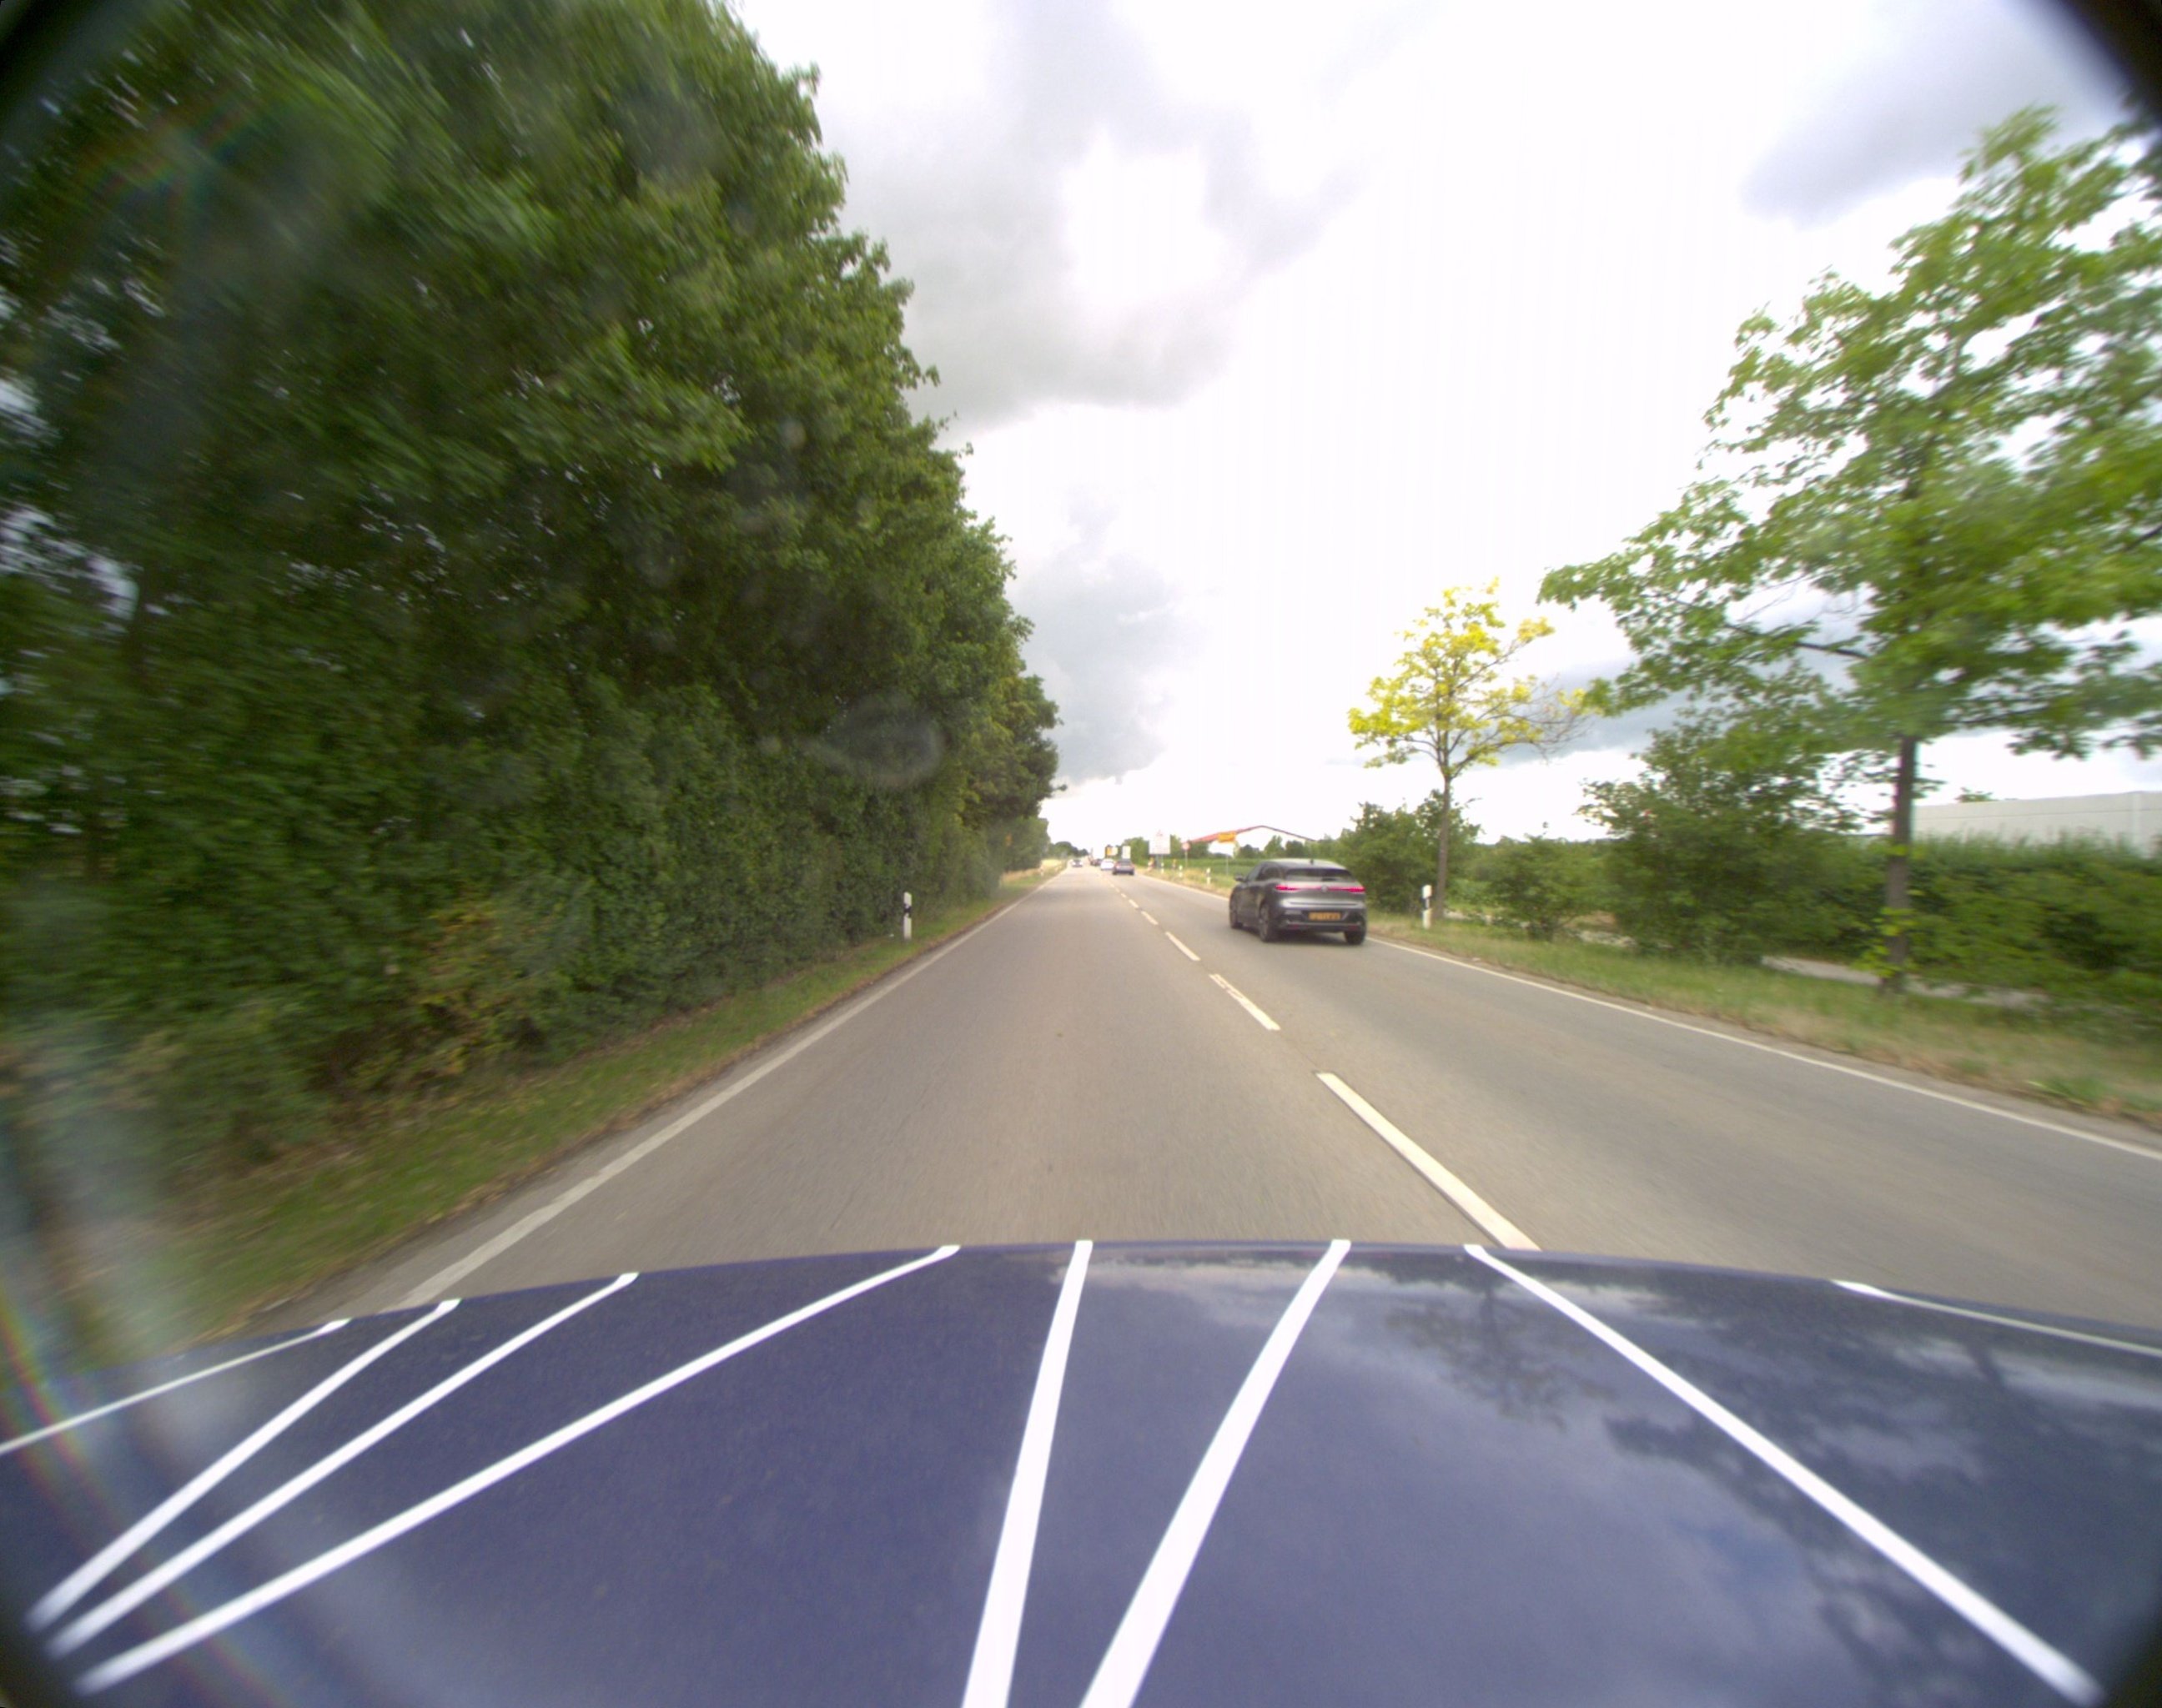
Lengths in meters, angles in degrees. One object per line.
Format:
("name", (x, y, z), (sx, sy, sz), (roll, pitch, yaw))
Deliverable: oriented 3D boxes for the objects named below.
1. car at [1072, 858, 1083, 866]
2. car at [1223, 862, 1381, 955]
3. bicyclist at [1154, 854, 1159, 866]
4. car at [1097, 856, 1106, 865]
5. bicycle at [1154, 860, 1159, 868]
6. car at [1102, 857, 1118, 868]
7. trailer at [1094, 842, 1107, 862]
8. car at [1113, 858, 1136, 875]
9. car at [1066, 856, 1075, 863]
("car", (-0.637, 1.359, 136.788), (1.869, 1.352, 3.826), (0, 0, 0))
("car", (4.094, 0.933, 14.803), (1.820, 1.485, 4.204), (1, 0, 0))
("bicyclist", (10.530, 0.853, 106.012), (0.530, 1.575, 1.223), (1, 0, 0))
("car", (3.927, 1.246, 145.947), (1.733, 1.577, 4.504), (0, 0, 0))
("bicycle", (10.526, 1.358, 105.980), (0.530, 1.149, 1.794), (1, 0, 0))
("car", (3.727, 1.119, 98.287), (1.777, 1.365, 4.100), (1, 0, 0))
("trailer", (4.227, -0.447, 166.486), (2.641, 4.096, 13.766), (0, 0, 0))
("car", (4.031, 1.129, 70.304), (1.857, 1.456, 4.370), (0, 0, 0))
("car", (-2.313, 1.175, 164.938), (1.777, 1.407, 4.079), (1, 0, 0))
